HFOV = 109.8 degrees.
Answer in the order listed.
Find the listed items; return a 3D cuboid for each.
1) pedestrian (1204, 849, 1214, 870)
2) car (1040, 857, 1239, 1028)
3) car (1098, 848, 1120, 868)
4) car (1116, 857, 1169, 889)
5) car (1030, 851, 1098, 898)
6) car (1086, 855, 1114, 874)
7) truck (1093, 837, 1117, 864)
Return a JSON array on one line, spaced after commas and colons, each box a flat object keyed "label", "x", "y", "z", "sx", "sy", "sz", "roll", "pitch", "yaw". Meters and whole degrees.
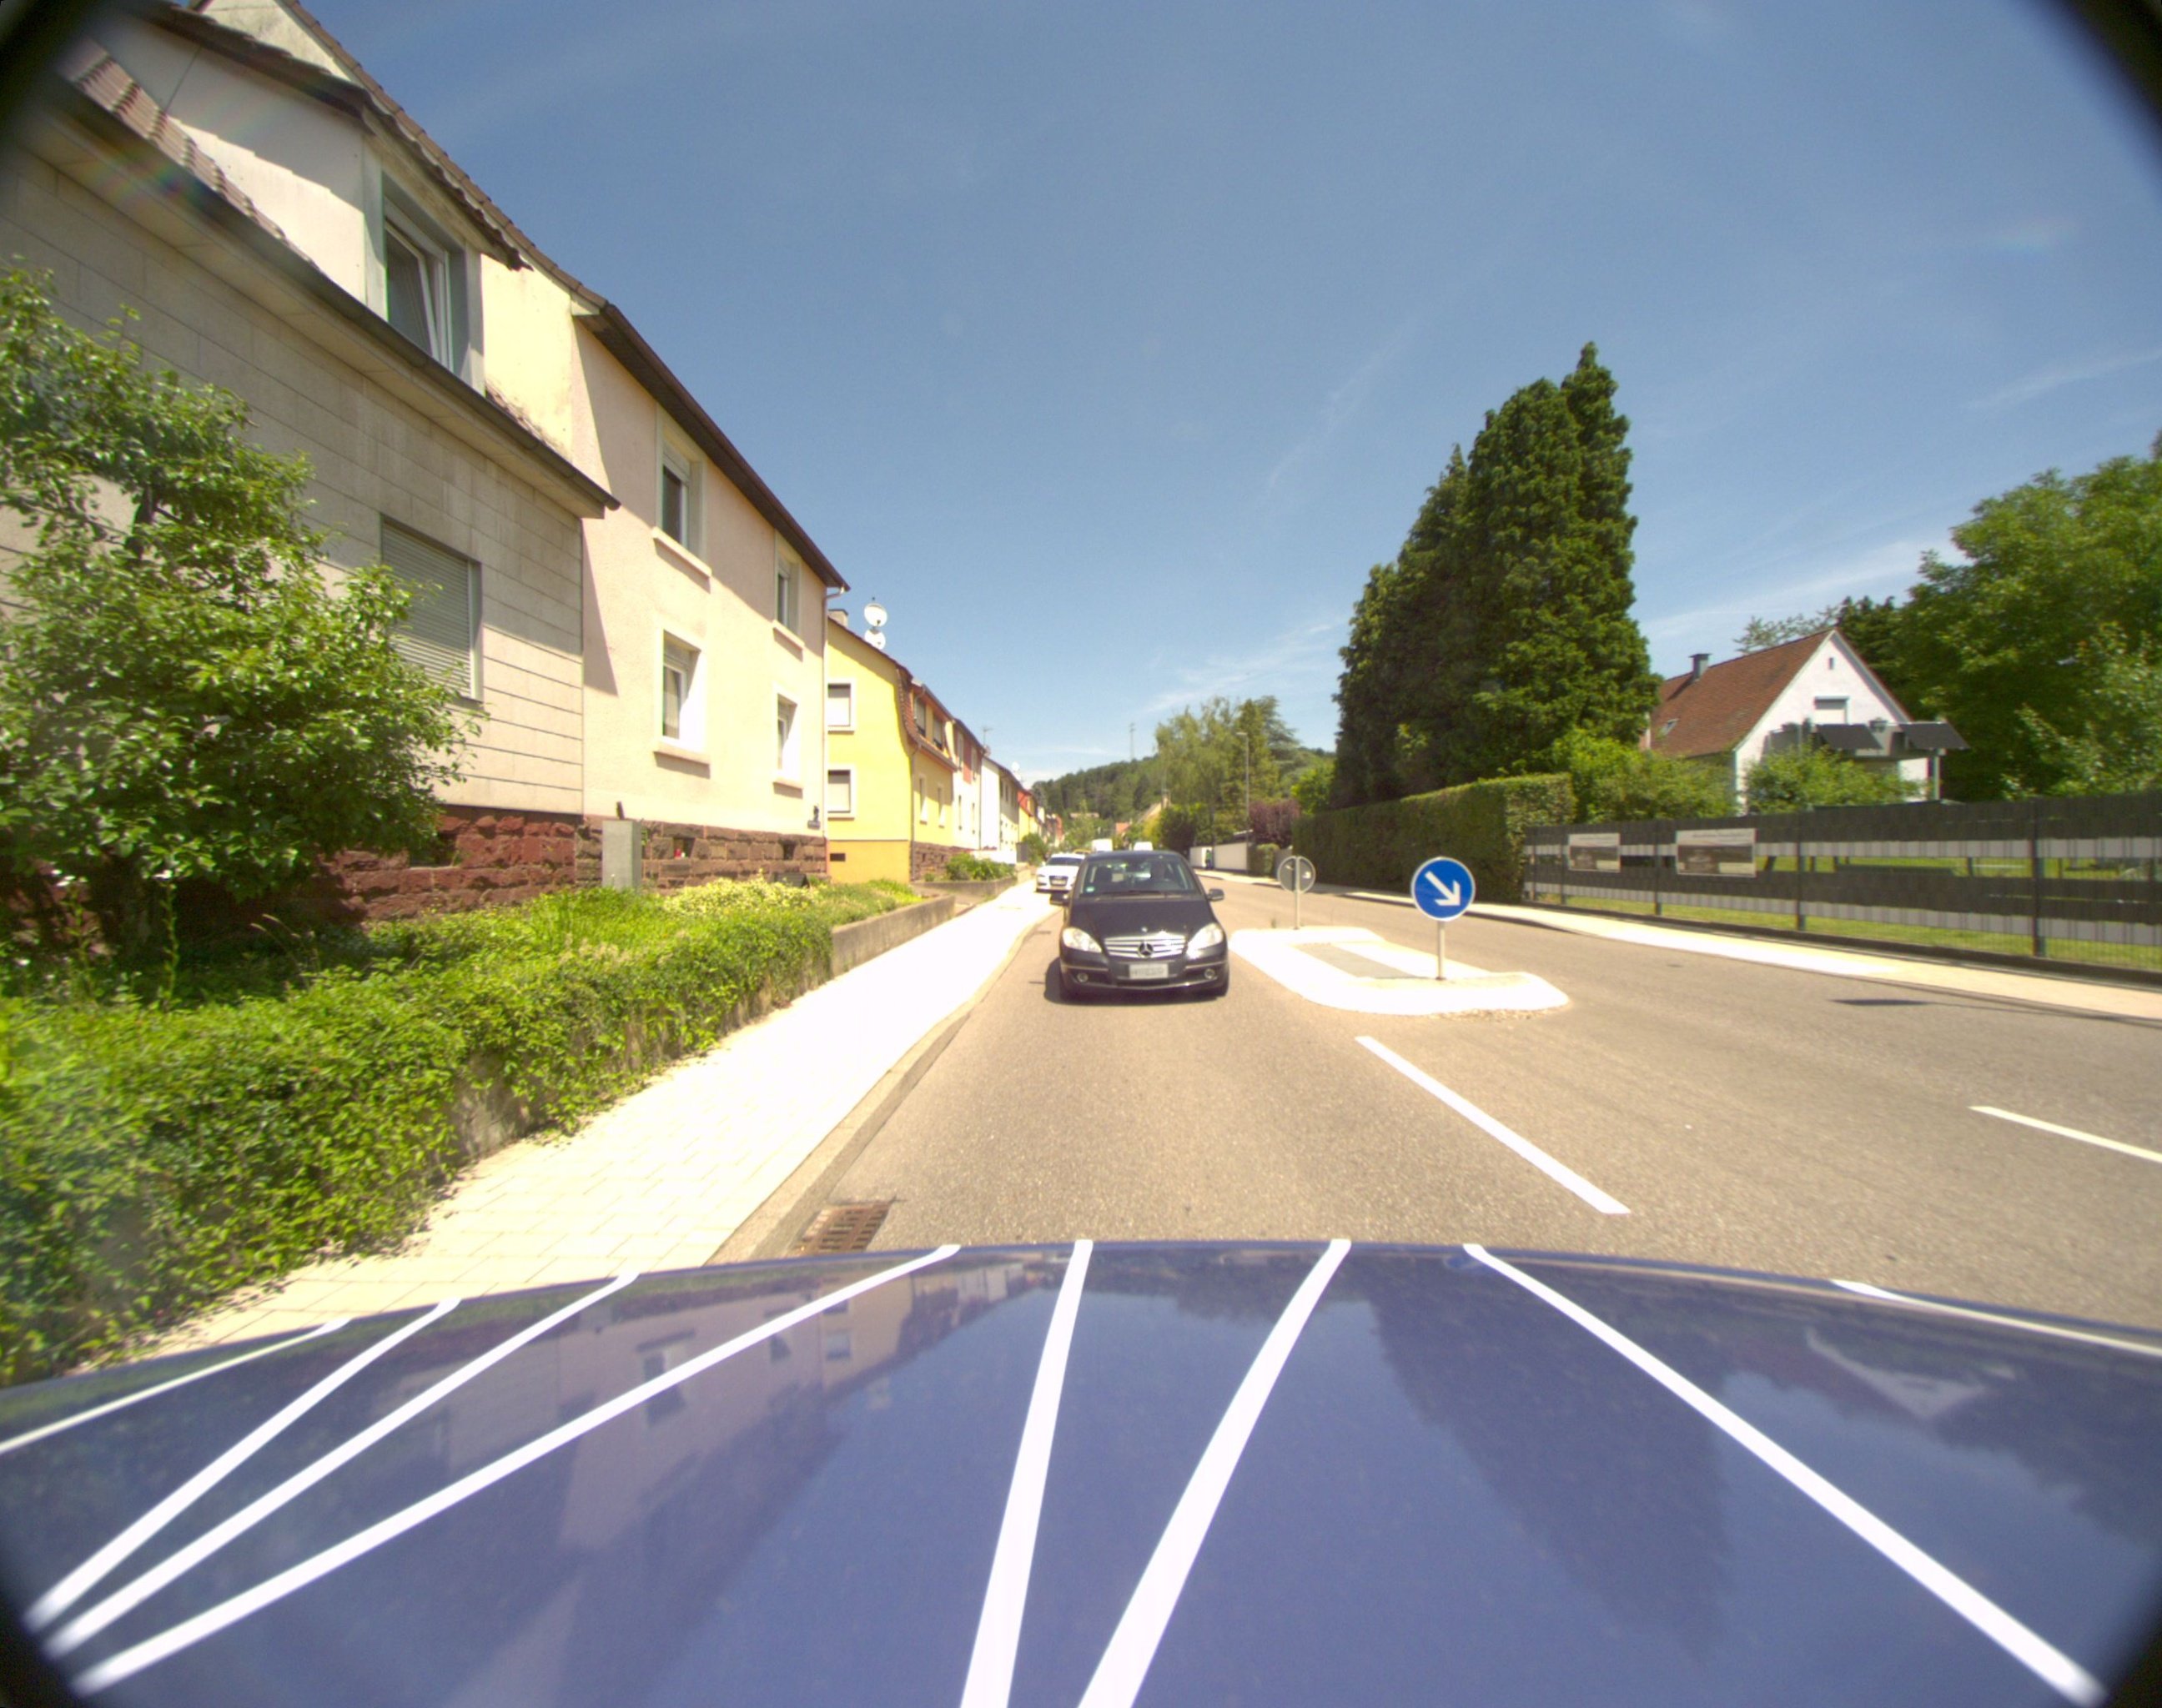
[{"label": "pedestrian", "x": 9.254, "y": 0.416, "z": 54.920, "sx": 0.555, "sy": 1.477, "sz": 0.483, "roll": -2, "pitch": 1, "yaw": 0}, {"label": "car", "x": 0.587, "y": 0.862, "z": 9.356, "sx": 1.868, "sy": 1.580, "sz": 4.156, "roll": -1, "pitch": 0, "yaw": 1}, {"label": "car", "x": 3.052, "y": 0.435, "z": 83.708, "sx": 1.999, "sy": 2.002, "sz": 4.547, "roll": -2, "pitch": 0, "yaw": -1}, {"label": "car", "x": 2.739, "y": 0.806, "z": 34.766, "sx": 1.910, "sy": 1.296, "sz": 4.156, "roll": -2, "pitch": 0, "yaw": -2}, {"label": "car", "x": -0.568, "y": 0.688, "z": 28.587, "sx": 1.997, "sy": 1.510, "sz": 4.145, "roll": 4, "pitch": 1, "yaw": 5}, {"label": "car", "x": 1.543, "y": 0.830, "z": 63.611, "sx": 1.865, "sy": 1.441, "sz": 3.998, "roll": -3, "pitch": 0, "yaw": -5}, {"label": "truck", "x": 3.218, "y": -0.443, "z": 105.055, "sx": 3.149, "sy": 3.467, "sz": 8.271, "roll": -1, "pitch": 0, "yaw": 1}]
